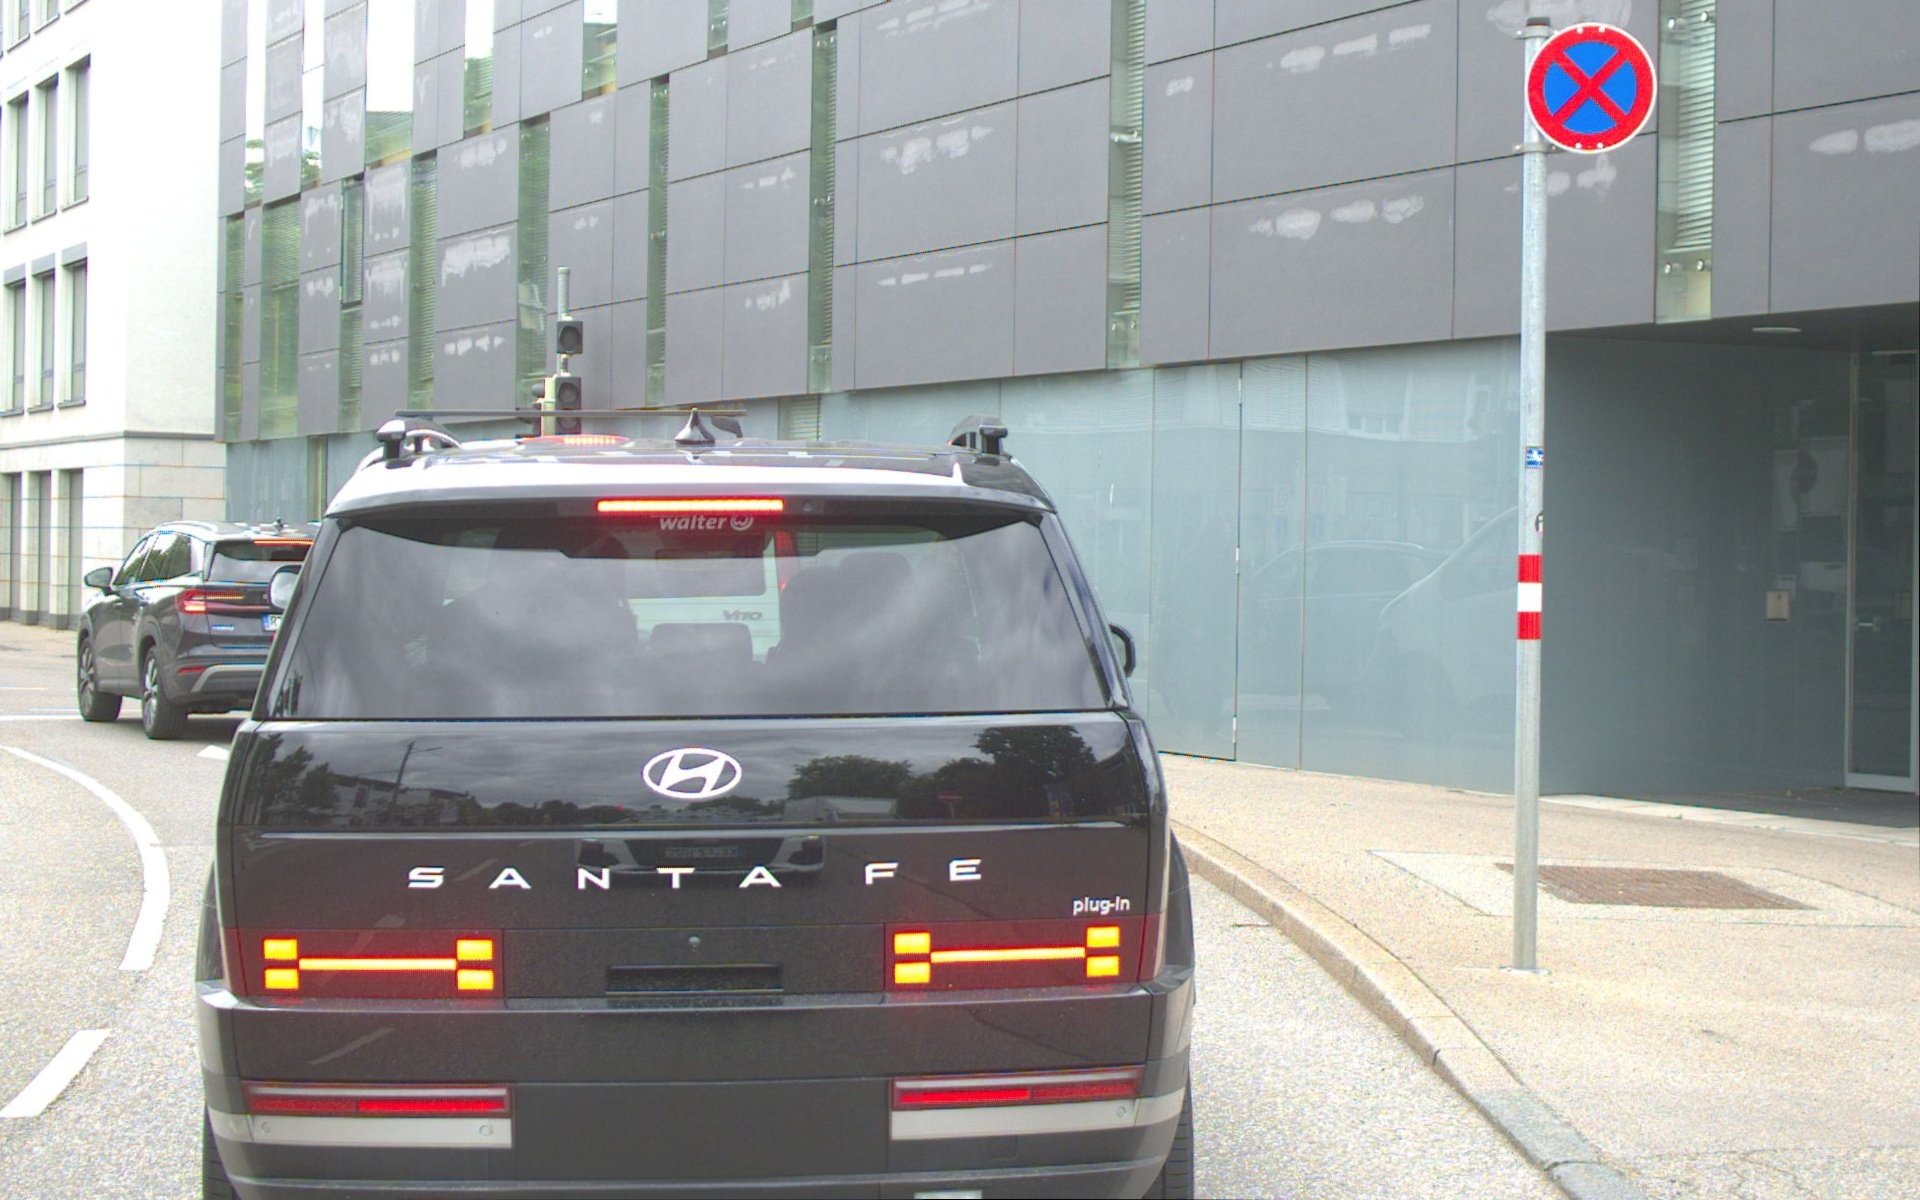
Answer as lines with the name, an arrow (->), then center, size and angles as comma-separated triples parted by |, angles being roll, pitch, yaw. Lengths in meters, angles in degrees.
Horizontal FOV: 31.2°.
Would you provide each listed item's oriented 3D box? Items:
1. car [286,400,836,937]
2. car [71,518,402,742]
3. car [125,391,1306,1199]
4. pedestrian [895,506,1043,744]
car -> -1.921, 0.224, 15.151 | 1.931, 1.987, 4.536 | 1, 1, -12
car -> -5.732, 0.179, 26.867 | 1.759, 1.603, 4.189 | 1, 1, -23
car -> -0.632, 0.500, 7.759 | 1.908, 1.743, 4.398 | 0, 1, -7
pedestrian -> 0.059, 0.174, 24.929 | 0.711, 1.688, 0.866 | 1, 0, -27
